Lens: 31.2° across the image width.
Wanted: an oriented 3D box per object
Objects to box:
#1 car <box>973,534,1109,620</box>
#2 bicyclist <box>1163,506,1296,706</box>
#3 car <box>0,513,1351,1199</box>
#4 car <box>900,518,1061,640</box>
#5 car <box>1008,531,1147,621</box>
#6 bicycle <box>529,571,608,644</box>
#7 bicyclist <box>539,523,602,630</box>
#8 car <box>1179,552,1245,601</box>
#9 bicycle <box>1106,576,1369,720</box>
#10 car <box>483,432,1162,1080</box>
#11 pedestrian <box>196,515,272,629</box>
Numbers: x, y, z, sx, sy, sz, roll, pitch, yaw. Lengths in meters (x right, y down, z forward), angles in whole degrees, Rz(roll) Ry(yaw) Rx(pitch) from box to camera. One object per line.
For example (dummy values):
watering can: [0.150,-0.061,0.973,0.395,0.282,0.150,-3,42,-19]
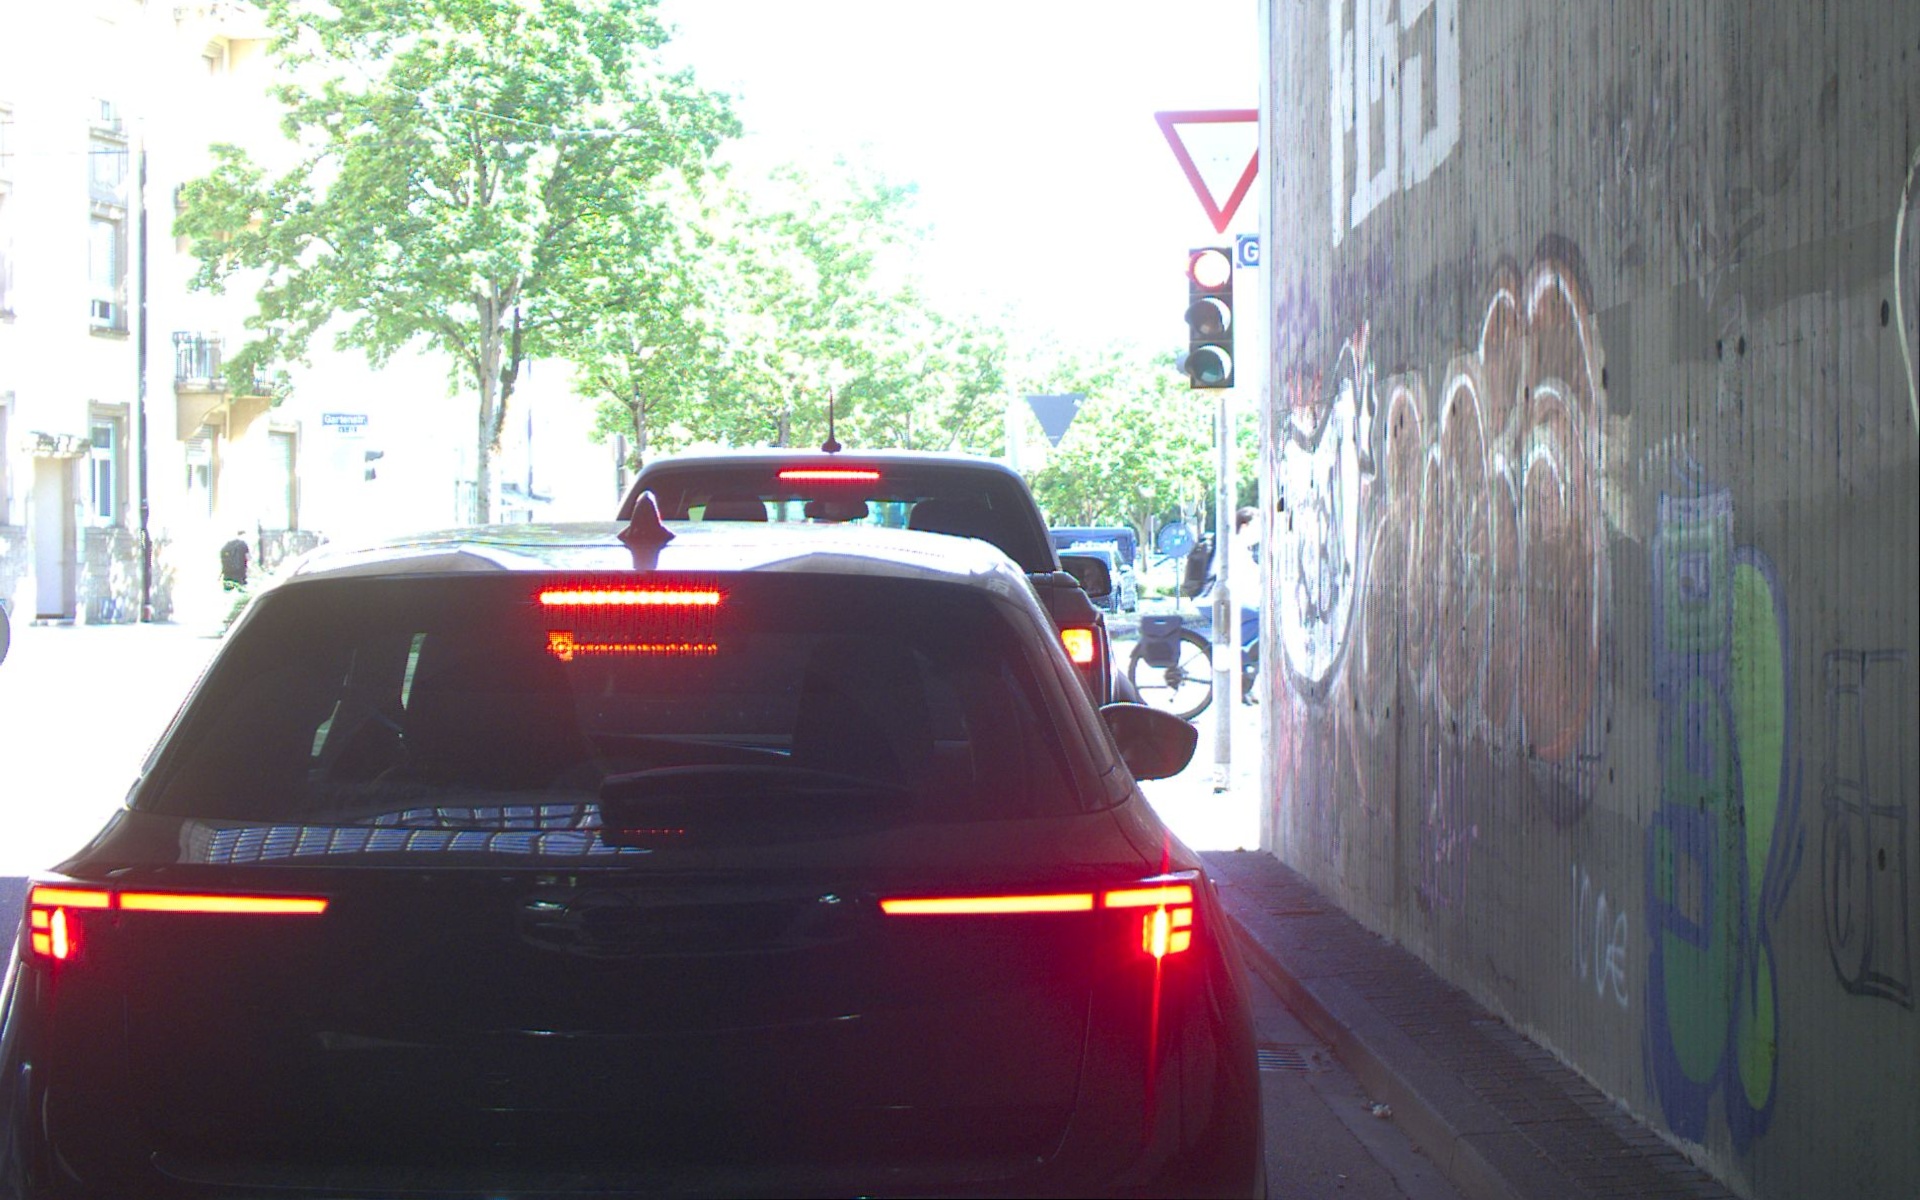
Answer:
car: [1.506,-0.389,62.201,1.969,1.492,3.895,0,-1,9]
bicyclist: [1.999,0.039,25.591,0.869,1.447,0.745,-1,1,-2]
car: [-0.497,0.632,6.076,1.882,1.532,3.964,0,1,-1]
car: [0.296,-0.236,44.179,1.968,1.492,3.896,0,-1,1]
car: [2.392,-0.446,69.011,2.221,1.713,4.458,0,-1,10]
bicycle: [-5.858,0.099,51.522,0.732,1.064,1.688,1,1,9]
bicyclist: [-5.840,-0.357,51.547,0.729,1.576,0.814,1,0,9]
car: [8.848,-0.835,120.488,1.994,1.656,3.999,1,1,8]
bicycle: [2.058,0.348,25.625,1.855,1.005,0.745,-1,1,-2]
car: [-0.417,0.413,11.898,1.945,1.853,3.964,0,1,-1]
pedestrian: [-12.932,-0.509,61.272,0.992,2.007,1.088,0,1,8]
